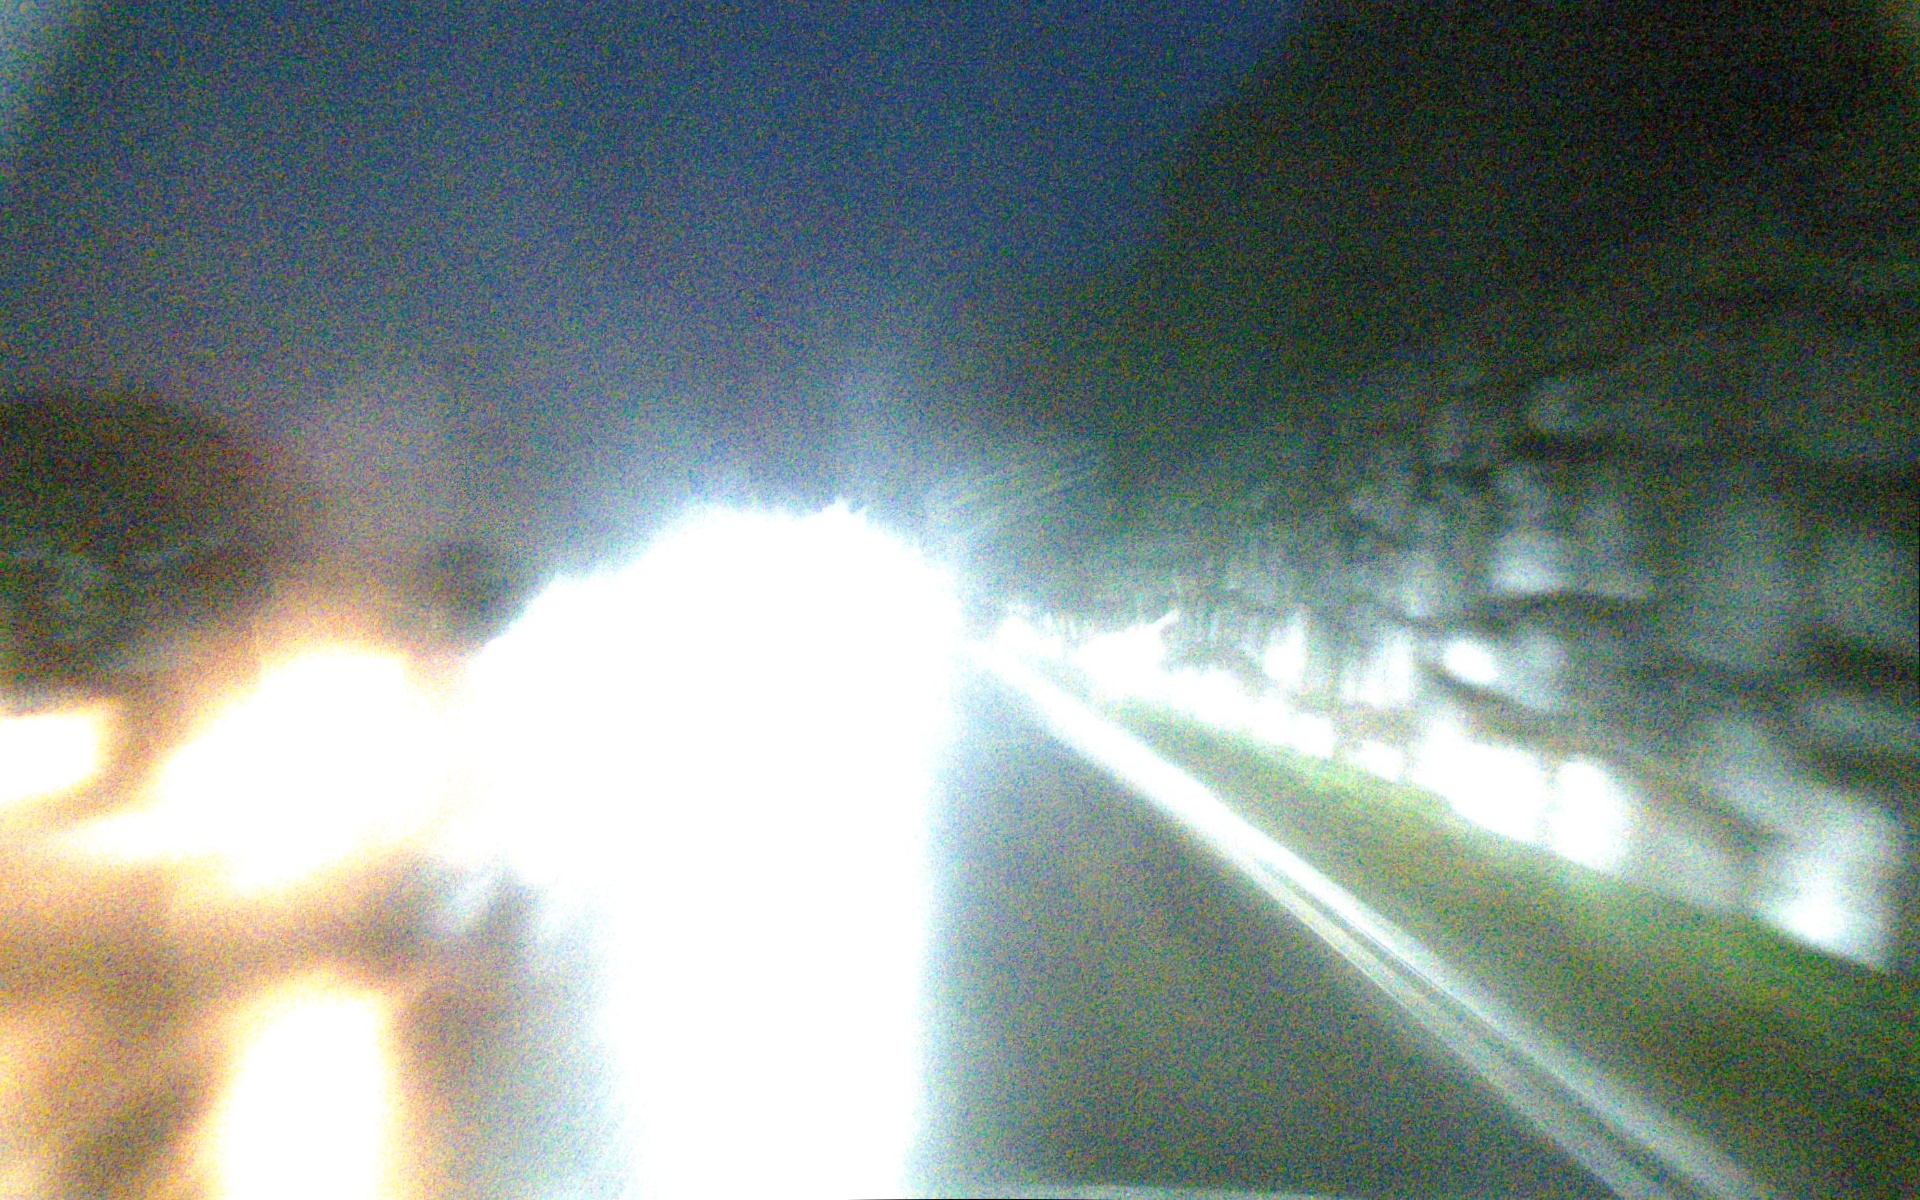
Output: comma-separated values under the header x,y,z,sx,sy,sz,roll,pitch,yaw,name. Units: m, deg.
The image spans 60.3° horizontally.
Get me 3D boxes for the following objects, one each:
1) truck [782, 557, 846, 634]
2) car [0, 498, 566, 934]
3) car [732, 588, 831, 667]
x,y,z,sx,sy,sz,roll,pitch,yaw,name
-5.126,-0.180,58.746,2.095,2.579,5.275,1,0,-4,truck
-3.418,0.489,9.019,1.707,1.855,3.876,1,0,-2,car
-3.864,0.562,36.299,1.847,1.603,4.048,1,0,-2,car
